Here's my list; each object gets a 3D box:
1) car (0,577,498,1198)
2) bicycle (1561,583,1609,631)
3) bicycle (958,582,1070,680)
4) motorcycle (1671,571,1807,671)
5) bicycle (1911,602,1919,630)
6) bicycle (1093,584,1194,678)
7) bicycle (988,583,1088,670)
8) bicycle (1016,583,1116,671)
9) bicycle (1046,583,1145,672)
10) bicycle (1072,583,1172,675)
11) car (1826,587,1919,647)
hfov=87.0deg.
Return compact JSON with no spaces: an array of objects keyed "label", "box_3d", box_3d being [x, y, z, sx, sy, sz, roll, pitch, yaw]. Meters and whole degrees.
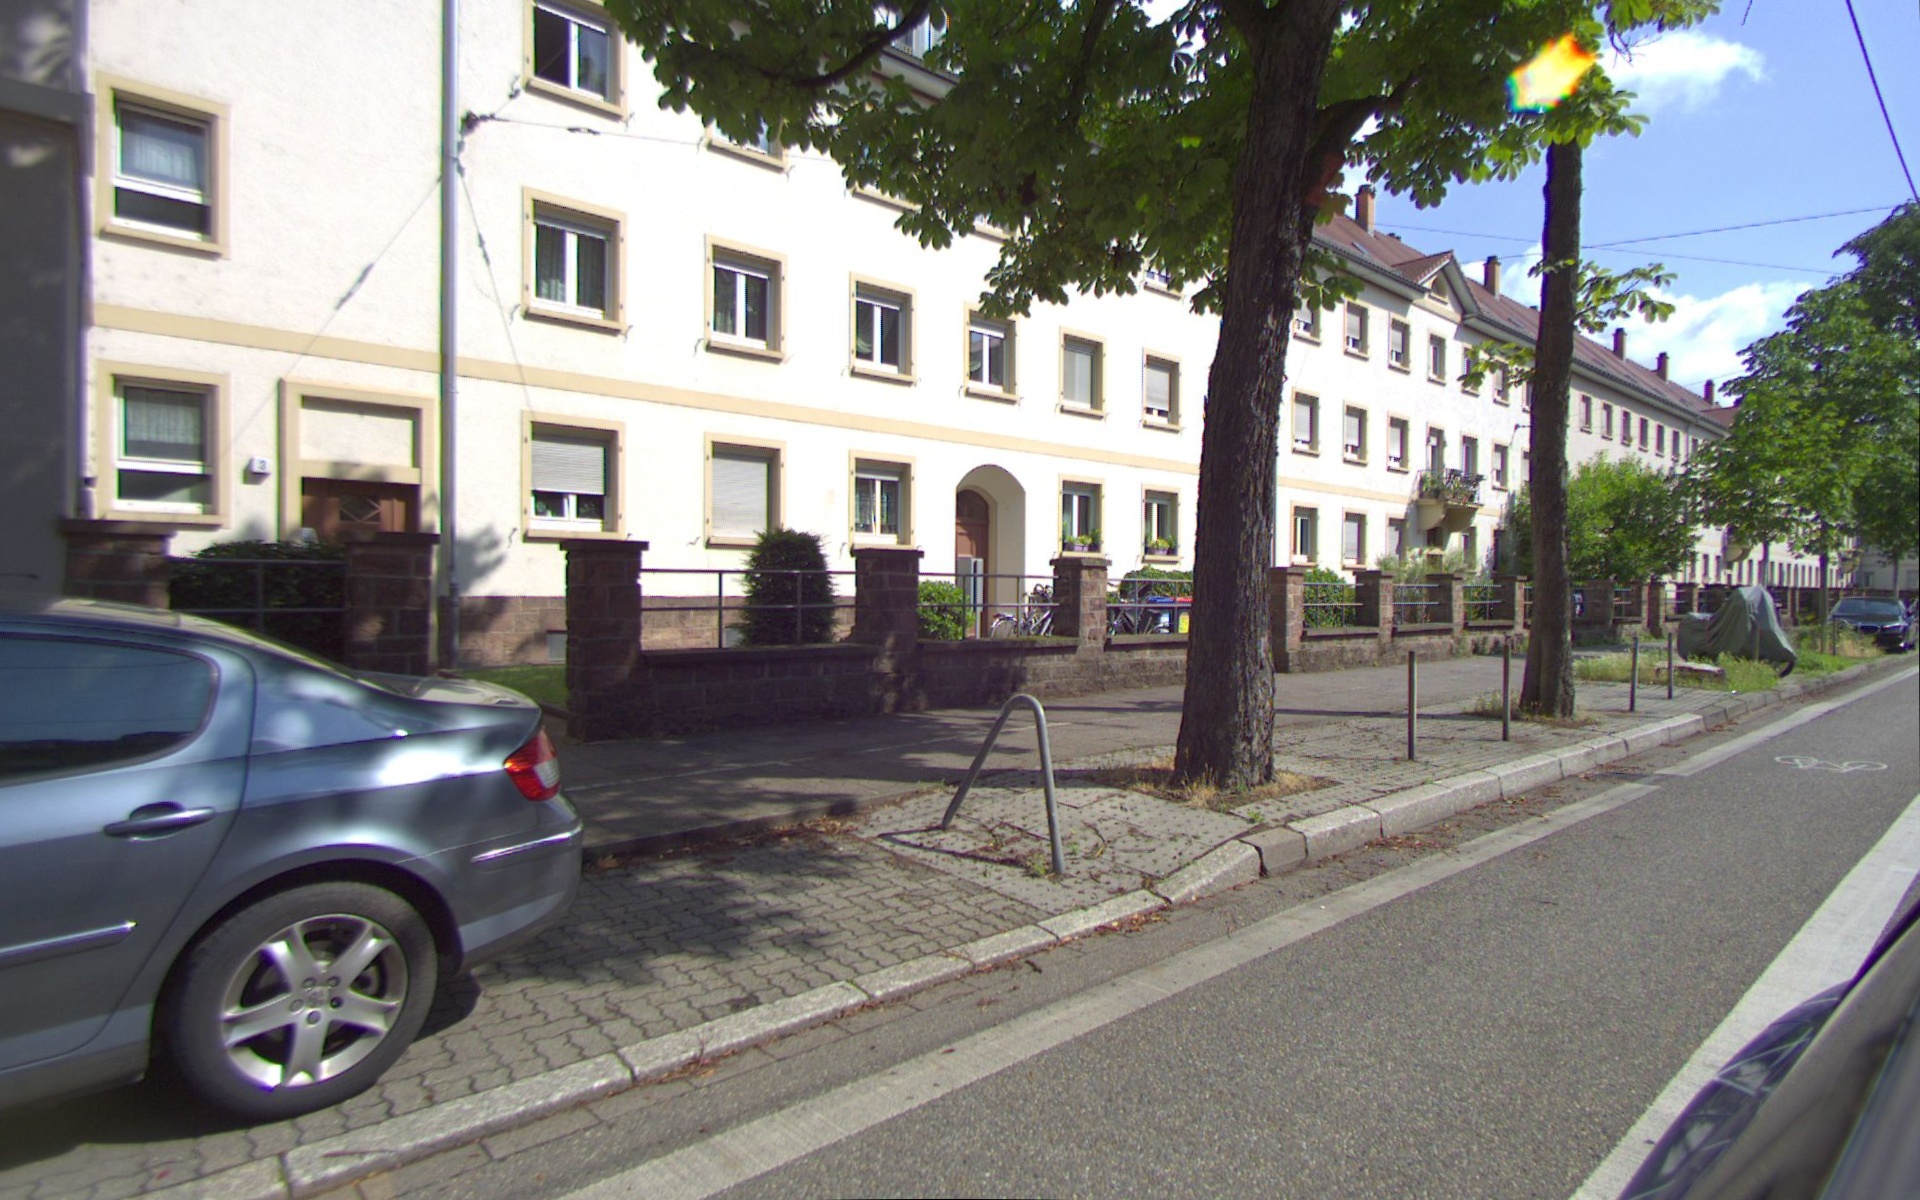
[{"label":"car","box_3d":[-3.641,0.685,2.352,4.323,1.426,1.848,-1,3,-44]},{"label":"bicycle","box_3d":[16.522,0.164,26.751,1.674,1.227,0.600,0,1,-41]},{"label":"bicycle","box_3d":[0.738,0.381,13.439,1.674,1.227,0.413,0,1,-41]},{"label":"motorcycle","box_3d":[13.454,0.319,17.582,0.666,1.617,2.384,0,1,4]},{"label":"bicycle","box_3d":[35.849,0.618,36.836,0.626,1.019,1.712,0,1,-40]},{"label":"bicycle","box_3d":[2.545,0.393,13.922,1.674,1.227,0.413,0,1,-41]},{"label":"bicycle","box_3d":[1.178,0.367,15.026,1.674,1.227,0.413,0,1,-41]},{"label":"bicycle","box_3d":[1.569,0.368,14.806,1.674,1.227,0.413,0,1,-41]},{"label":"bicycle","box_3d":[1.975,0.370,14.585,1.674,1.227,0.413,0,1,-41]},{"label":"bicycle","box_3d":[2.300,0.383,14.267,1.674,1.227,0.413,0,1,-41]},{"label":"car","box_3d":[24.744,0.425,27.146,4.124,1.498,1.708,-1,-1,-41]}]
